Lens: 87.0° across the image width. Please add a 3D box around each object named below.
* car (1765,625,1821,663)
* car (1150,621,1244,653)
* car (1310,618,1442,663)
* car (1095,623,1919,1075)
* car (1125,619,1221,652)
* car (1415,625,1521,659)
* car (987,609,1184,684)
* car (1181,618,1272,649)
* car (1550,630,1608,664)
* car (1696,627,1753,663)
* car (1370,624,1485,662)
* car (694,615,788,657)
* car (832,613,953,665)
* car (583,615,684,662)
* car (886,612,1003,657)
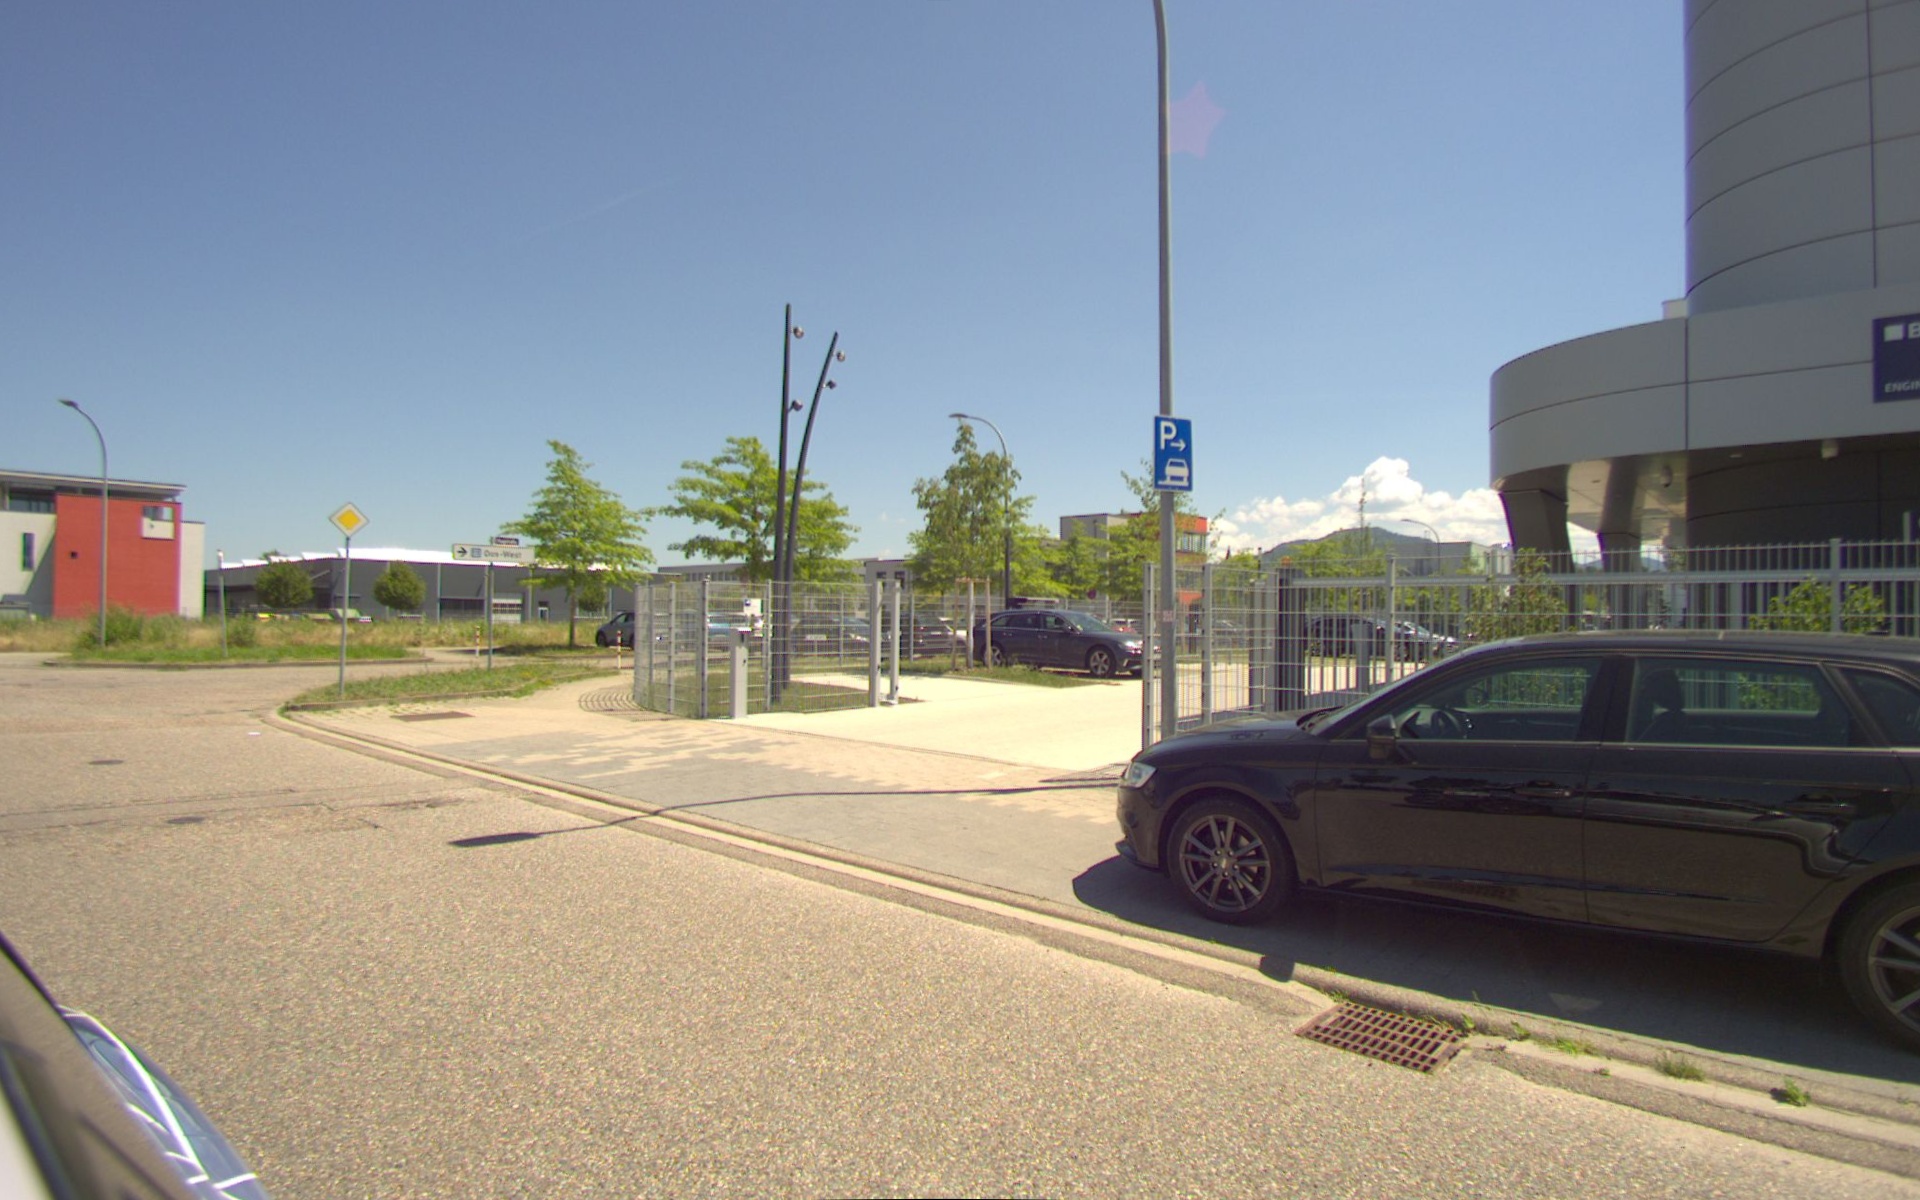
[{"bbox_3d":[35.410,1.857,43.021,1.775,1.523,4.050,-1,-2,40],"label":"car"},{"bbox_3d":[11.401,1.814,48.844,4.114,1.487,1.589,-3,-3,41],"label":"car"},{"bbox_3d":[15.028,1.448,36.692,4.103,1.523,1.752,-1,-2,41],"label":"car"},{"bbox_3d":[2.880,0.858,4.678,4.181,1.477,1.752,-2,-2,39],"label":"car"},{"bbox_3d":[9.823,1.666,46.901,4.114,1.487,1.589,-3,-3,41],"label":"car"},{"bbox_3d":[23.649,1.934,47.179,4.103,1.523,1.752,-1,-2,41],"label":"car"},{"bbox_3d":[2.731,0.992,22.539,4.103,1.523,1.752,-1,-2,41],"label":"car"},{"bbox_3d":[13.293,1.703,50.655,4.114,1.487,1.589,-3,-3,41],"label":"car"},{"bbox_3d":[29.313,2.188,47.882,1.775,1.523,4.050,-1,-2,40],"label":"car"},{"bbox_3d":[33.511,1.949,44.319,1.775,1.523,4.050,-1,-2,40],"label":"car"},{"bbox_3d":[19.636,1.775,42.582,4.103,1.523,1.752,-1,-2,41],"label":"car"},{"bbox_3d":[-9.514,1.510,43.796,4.309,1.710,1.930,-1,-1,43],"label":"car"},{"bbox_3d":[-2.312,1.313,33.827,4.254,1.633,1.588,-3,-3,44],"label":"car"},{"bbox_3d":[-12.825,1.453,39.609,4.309,1.710,1.930,-1,-1,43],"label":"car"},{"bbox_3d":[-0.602,1.244,35.597,4.114,1.487,1.589,-3,-3,41],"label":"car"}]
